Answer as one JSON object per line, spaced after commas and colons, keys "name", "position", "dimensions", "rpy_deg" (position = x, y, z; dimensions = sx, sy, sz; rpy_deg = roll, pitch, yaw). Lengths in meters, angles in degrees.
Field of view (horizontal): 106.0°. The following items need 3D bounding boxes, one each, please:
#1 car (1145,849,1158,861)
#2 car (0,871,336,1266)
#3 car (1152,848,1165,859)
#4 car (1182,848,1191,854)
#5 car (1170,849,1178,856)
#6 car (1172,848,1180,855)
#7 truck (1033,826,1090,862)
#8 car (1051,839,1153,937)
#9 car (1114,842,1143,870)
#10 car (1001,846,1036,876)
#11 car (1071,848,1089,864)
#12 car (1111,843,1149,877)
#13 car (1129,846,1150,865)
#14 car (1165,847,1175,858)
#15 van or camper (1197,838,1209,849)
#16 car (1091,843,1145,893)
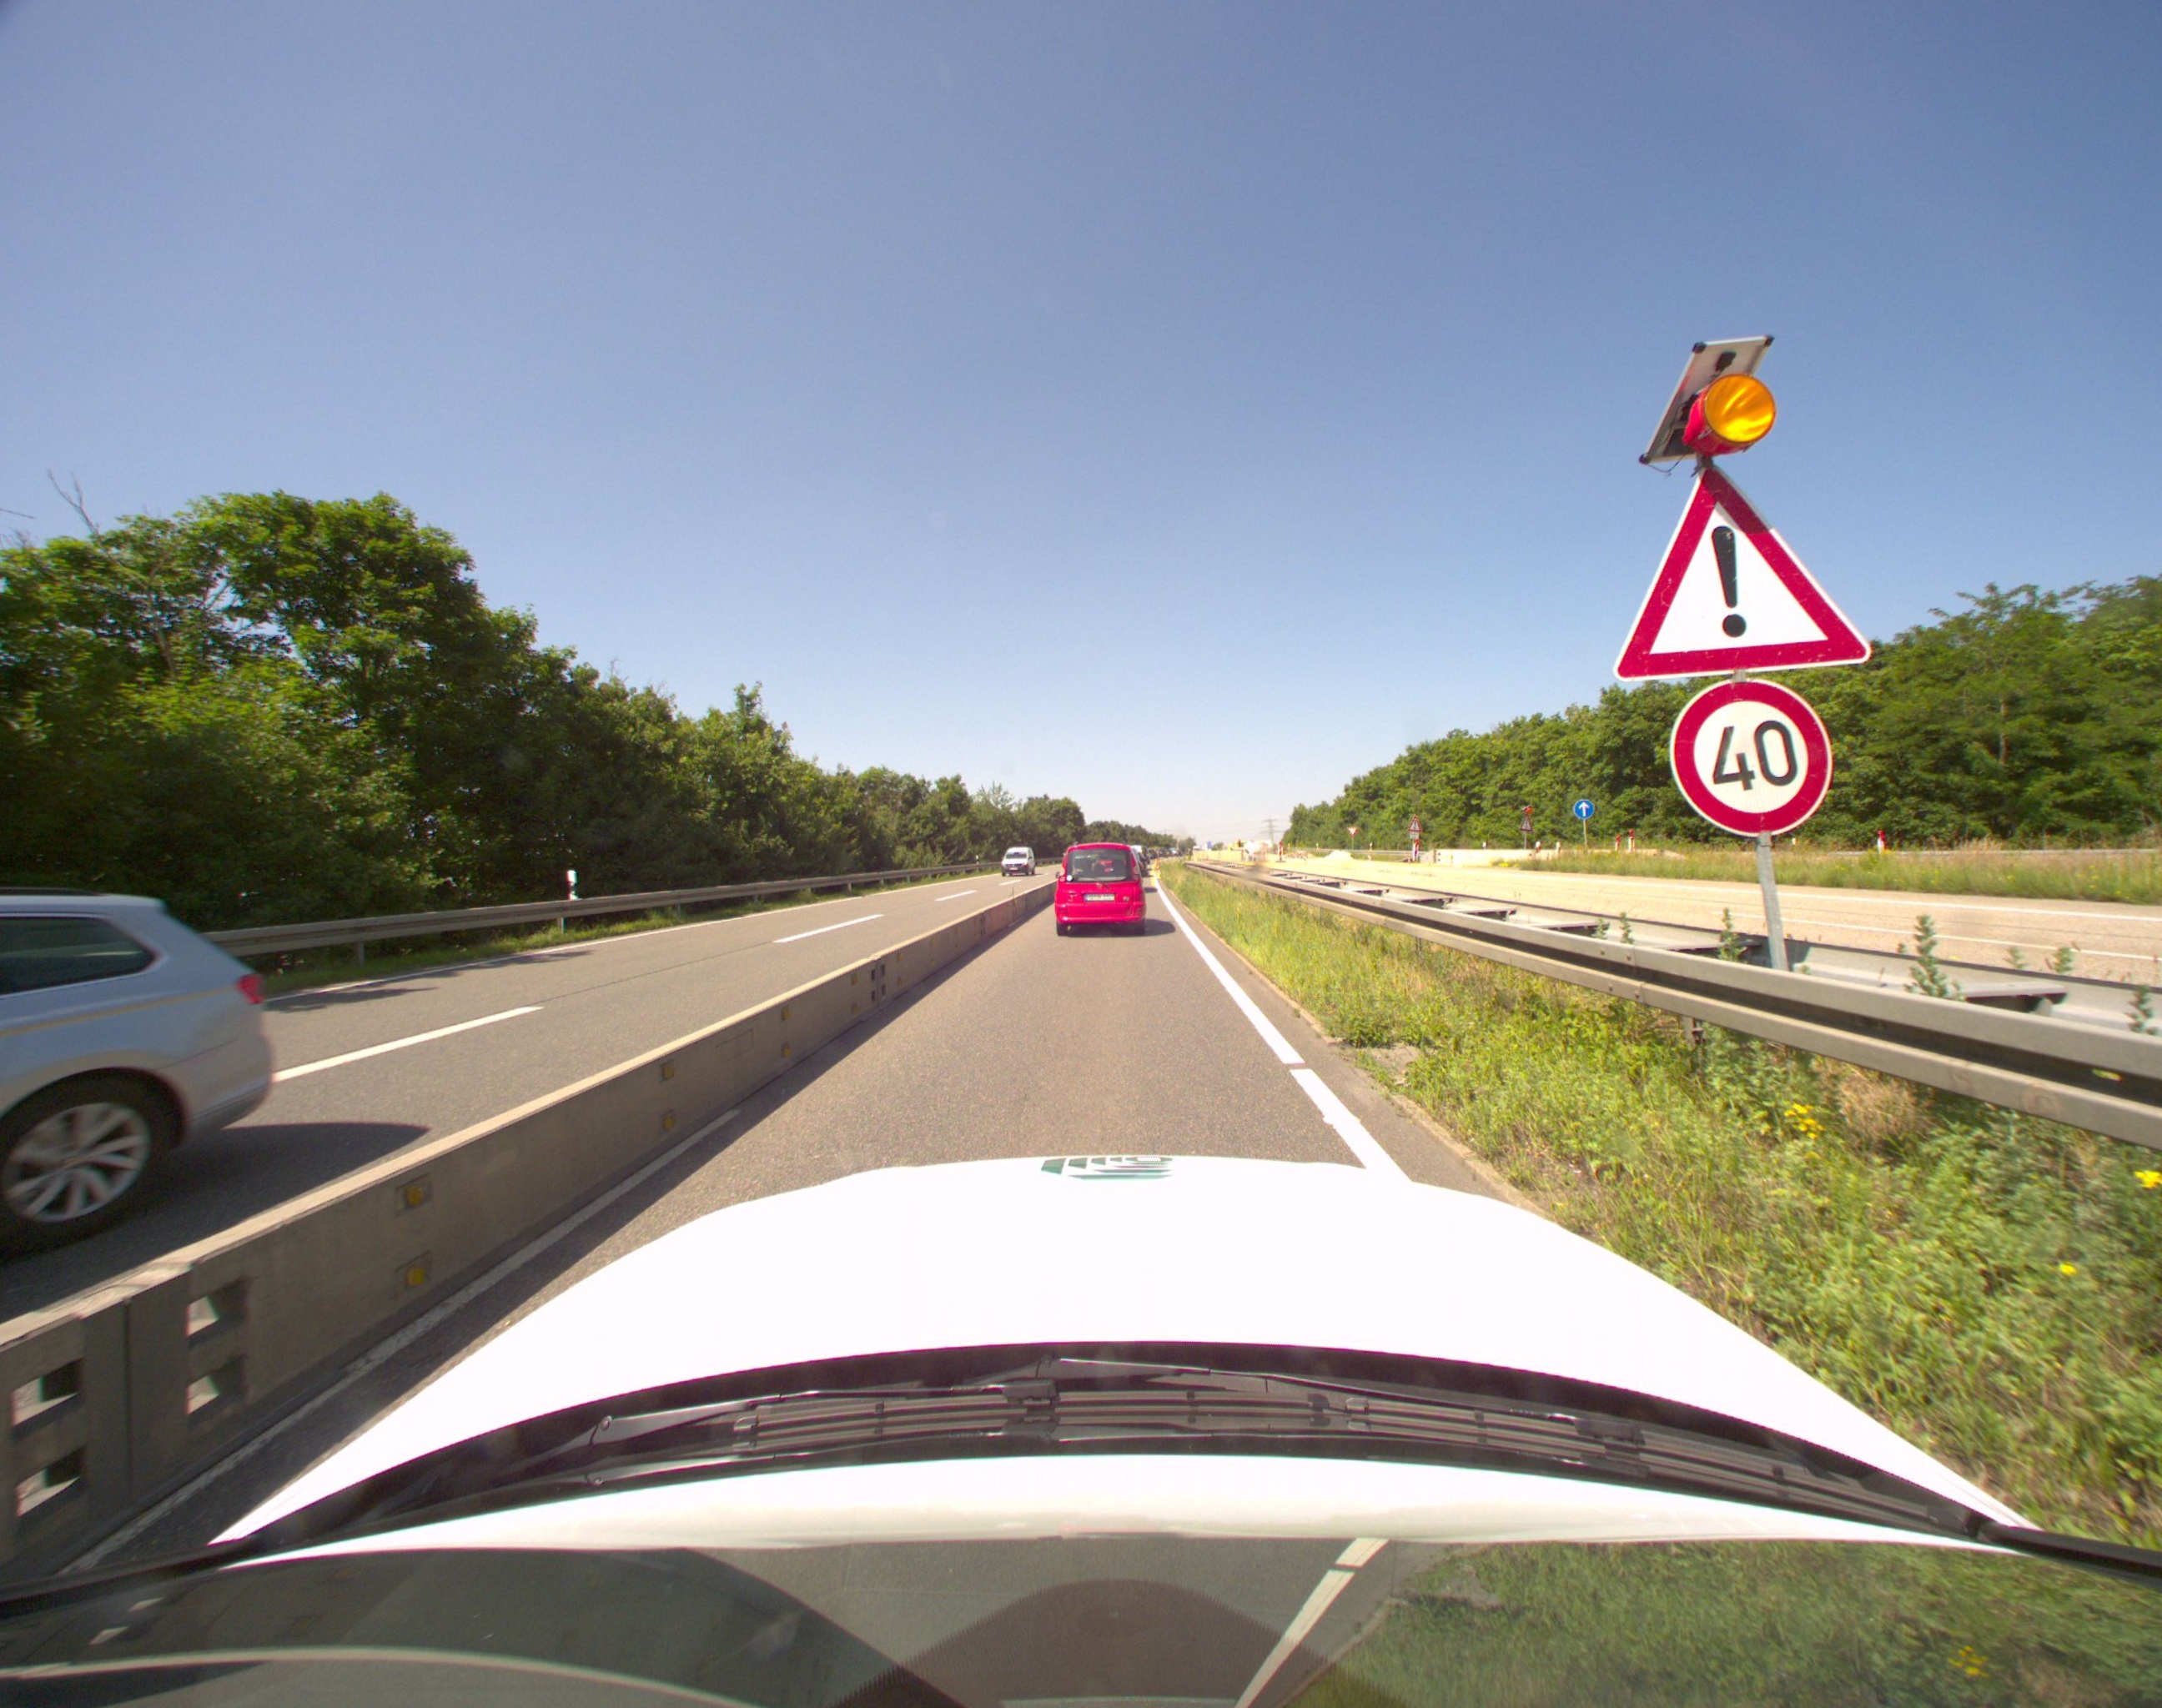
{"name": "car", "position": [8.712, 0.155, 100.548], "dimensions": [1.495, 1.450, 3.329], "rpy_deg": [-1, 0, 4]}
{"name": "car", "position": [-4.985, 0.831, 2.158], "dimensions": [1.942, 1.421, 4.354], "rpy_deg": [-1, 0, 1]}
{"name": "car", "position": [12.199, -0.097, 127.832], "dimensions": [1.984, 1.585, 4.006], "rpy_deg": [-1, 0, 5]}
{"name": "car", "position": [25.414, -0.731, 196.468], "dimensions": [1.985, 1.552, 4.004], "rpy_deg": [-1, 0, 4]}
{"name": "car", "position": [17.983, -0.231, 157.466], "dimensions": [1.414, 1.298, 2.884], "rpy_deg": [-2, 0, 6]}
{"name": "car", "position": [20.255, -0.445, 173.896], "dimensions": [1.494, 1.450, 3.175], "rpy_deg": [-2, 0, 6]}
{"name": "truck", "position": [-3.102, -1.569, 130.502], "dimensions": [8.579, 5.375, 3.394], "rpy_deg": [-2, 0, 5]}
{"name": "car", "position": [0.447, 0.585, 16.195], "dimensions": [1.745, 1.673, 4.002], "rpy_deg": [-1, 0, 2]}
{"name": "car", "position": [3.416, 0.130, 59.431], "dimensions": [1.986, 2.003, 4.002], "rpy_deg": [-1, 0, 2]}
{"name": "car", "position": [-3.968, 0.430, 52.291], "dimensions": [1.749, 1.765, 4.286], "rpy_deg": [-2, 0, 2]}
{"name": "car", "position": [-0.122, 0.202, 92.388], "dimensions": [1.850, 1.638, 4.386], "rpy_deg": [-3, 0, 2]}
{"name": "car", "position": [2.781, 0.324, 46.042], "dimensions": [1.985, 1.838, 4.004], "rpy_deg": [-1, 0, 4]}
{"name": "car", "position": [5.723, 0.125, 79.882], "dimensions": [1.985, 1.750, 4.003], "rpy_deg": [-1, 0, 3]}
{"name": "car", "position": [15.504, -0.285, 141.962], "dimensions": [1.495, 1.736, 3.174], "rpy_deg": [-2, 0, 4]}
{"name": "van or camper", "position": [31.351, -2.794, 209.535], "dimensions": [2.319, 2.707, 4.595], "rpy_deg": [-2, 0, 2]}
{"name": "car", "position": [1.426, 0.474, 30.313], "dimensions": [1.822, 1.722, 4.004], "rpy_deg": [-1, 0, 4]}
